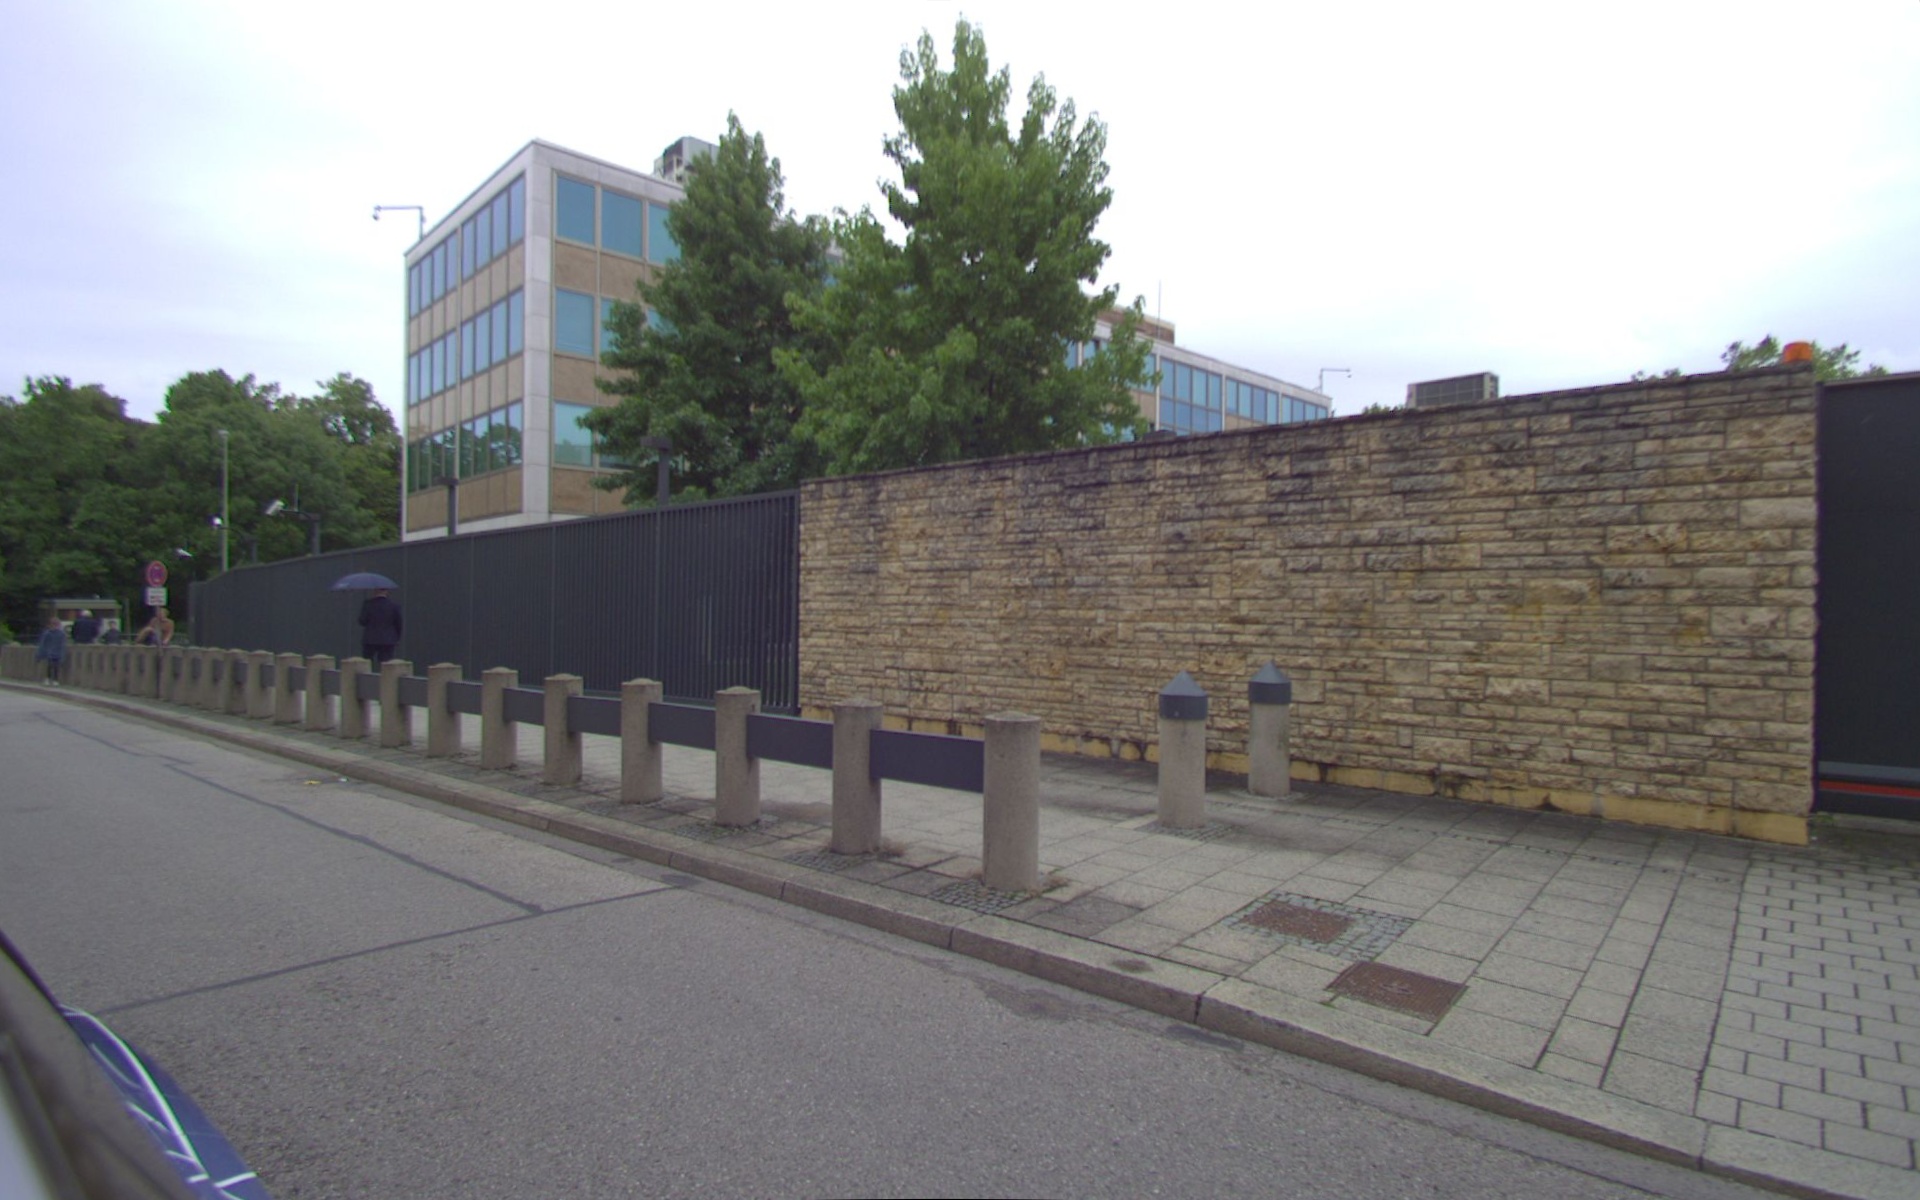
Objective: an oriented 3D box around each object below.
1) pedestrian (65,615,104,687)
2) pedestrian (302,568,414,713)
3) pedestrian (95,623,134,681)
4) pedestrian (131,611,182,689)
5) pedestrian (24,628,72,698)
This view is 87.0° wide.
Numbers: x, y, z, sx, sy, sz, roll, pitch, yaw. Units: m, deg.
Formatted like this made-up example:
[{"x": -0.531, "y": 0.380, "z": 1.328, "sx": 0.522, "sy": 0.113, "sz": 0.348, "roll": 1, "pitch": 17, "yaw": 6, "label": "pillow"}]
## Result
[{"x": -22.171, "y": 1.279, "z": 25.620, "sx": 0.766, "sy": 1.782, "sz": 0.617, "roll": -2, "pitch": -2, "yaw": 40, "label": "pedestrian"}, {"x": -9.256, "y": 0.611, "z": 15.568, "sx": 1.116, "sy": 2.120, "sz": 1.210, "roll": -2, "pitch": -2, "yaw": 43, "label": "pedestrian"}, {"x": -23.332, "y": 1.422, "z": 27.917, "sx": 0.768, "sy": 1.551, "sz": 0.934, "roll": -2, "pitch": 0, "yaw": -42, "label": "pedestrian"}, {"x": -18.642, "y": 1.150, "z": 23.475, "sx": 0.814, "sy": 1.736, "sz": 0.906, "roll": -2, "pitch": 0, "yaw": -44, "label": "pedestrian"}, {"x": -20.263, "y": 1.383, "z": 22.480, "sx": 1.078, "sy": 1.478, "sz": 0.632, "roll": -2, "pitch": 0, "yaw": 41, "label": "pedestrian"}]
